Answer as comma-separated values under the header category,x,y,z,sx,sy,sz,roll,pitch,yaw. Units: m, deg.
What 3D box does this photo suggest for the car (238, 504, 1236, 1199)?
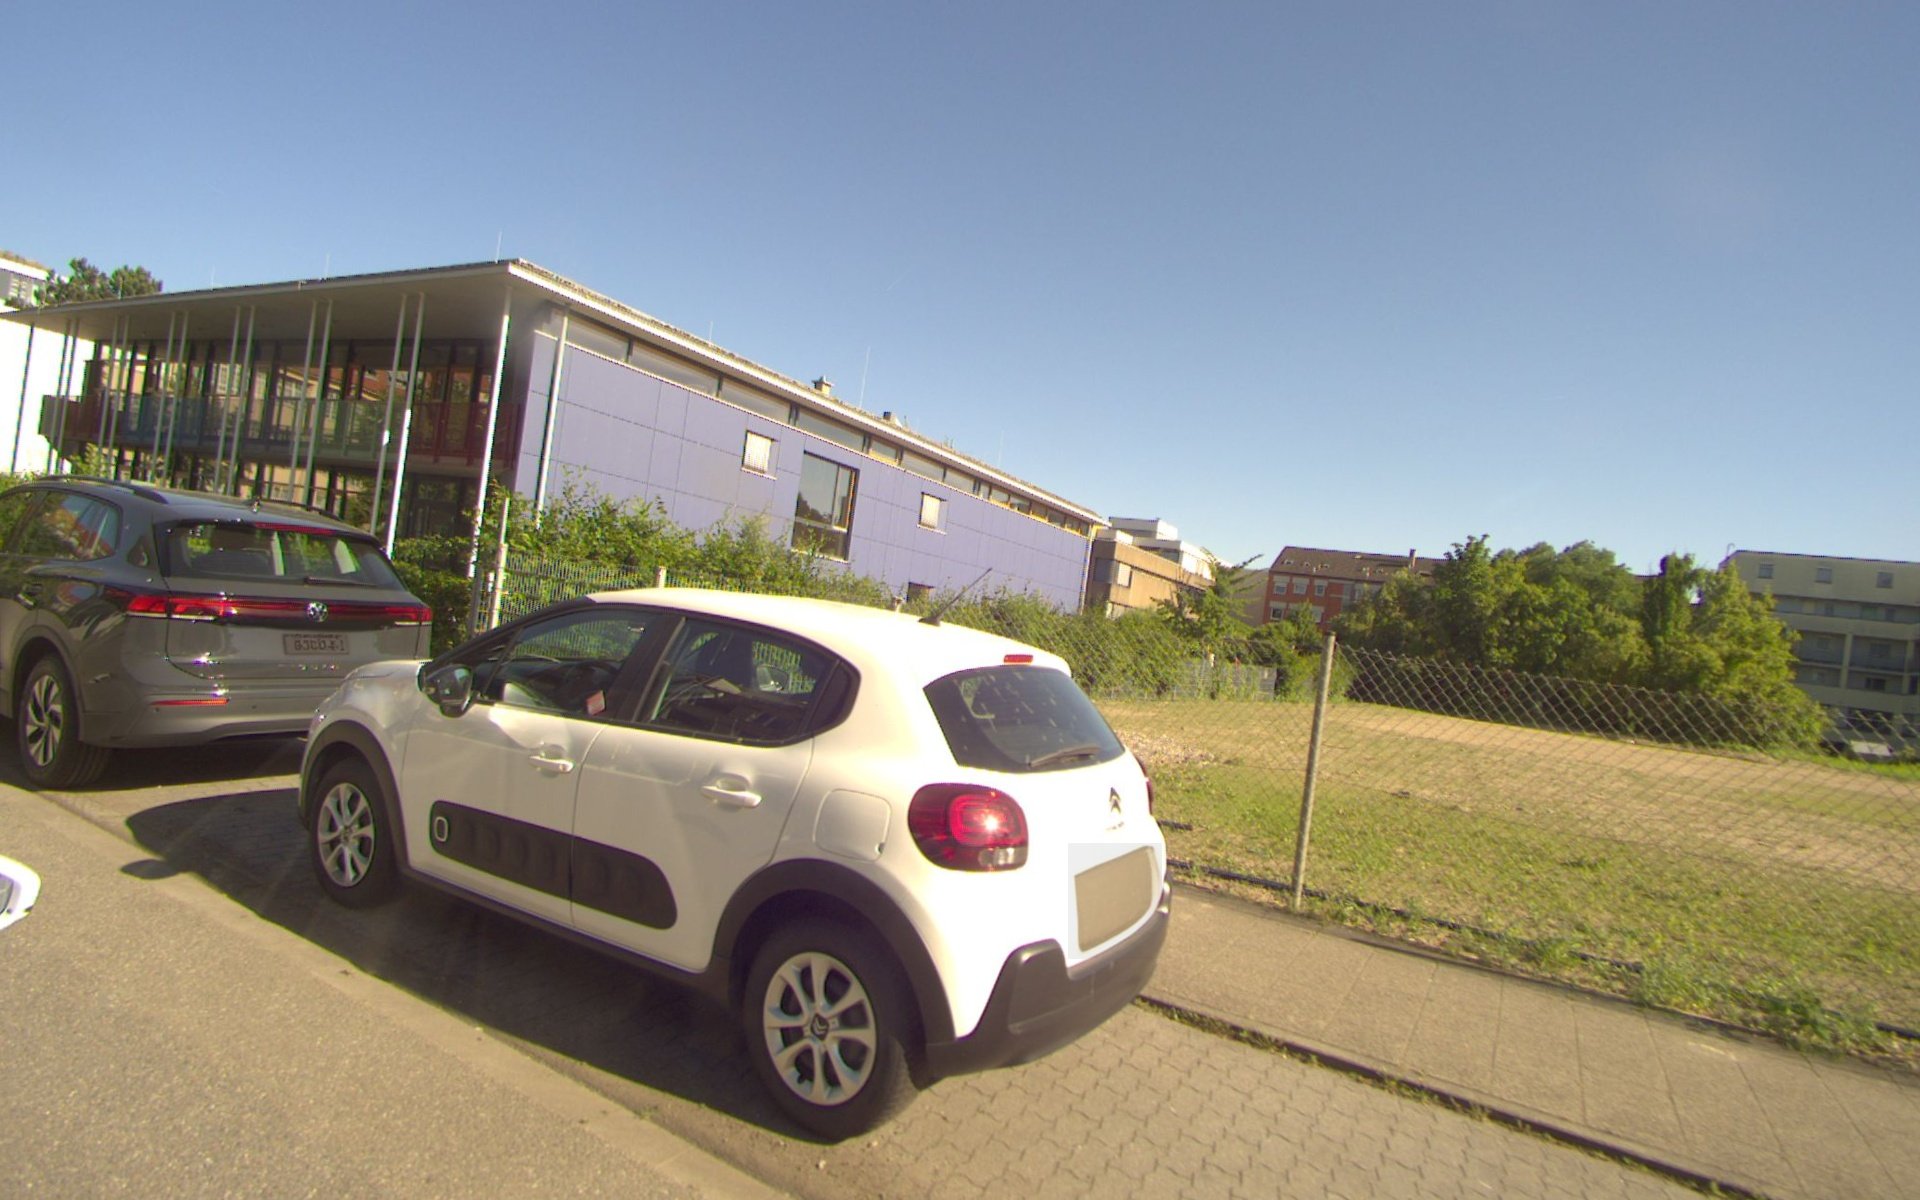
category,x,y,z,sx,sy,sz,roll,pitch,yaw
car,-1.052,0.655,4.196,3.784,1.560,1.683,8,-1,31

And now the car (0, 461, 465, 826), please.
category,x,y,z,sx,sy,sz,roll,pitch,yaw
car,-5.394,0.061,6.553,4.253,1.673,1.728,7,1,30
